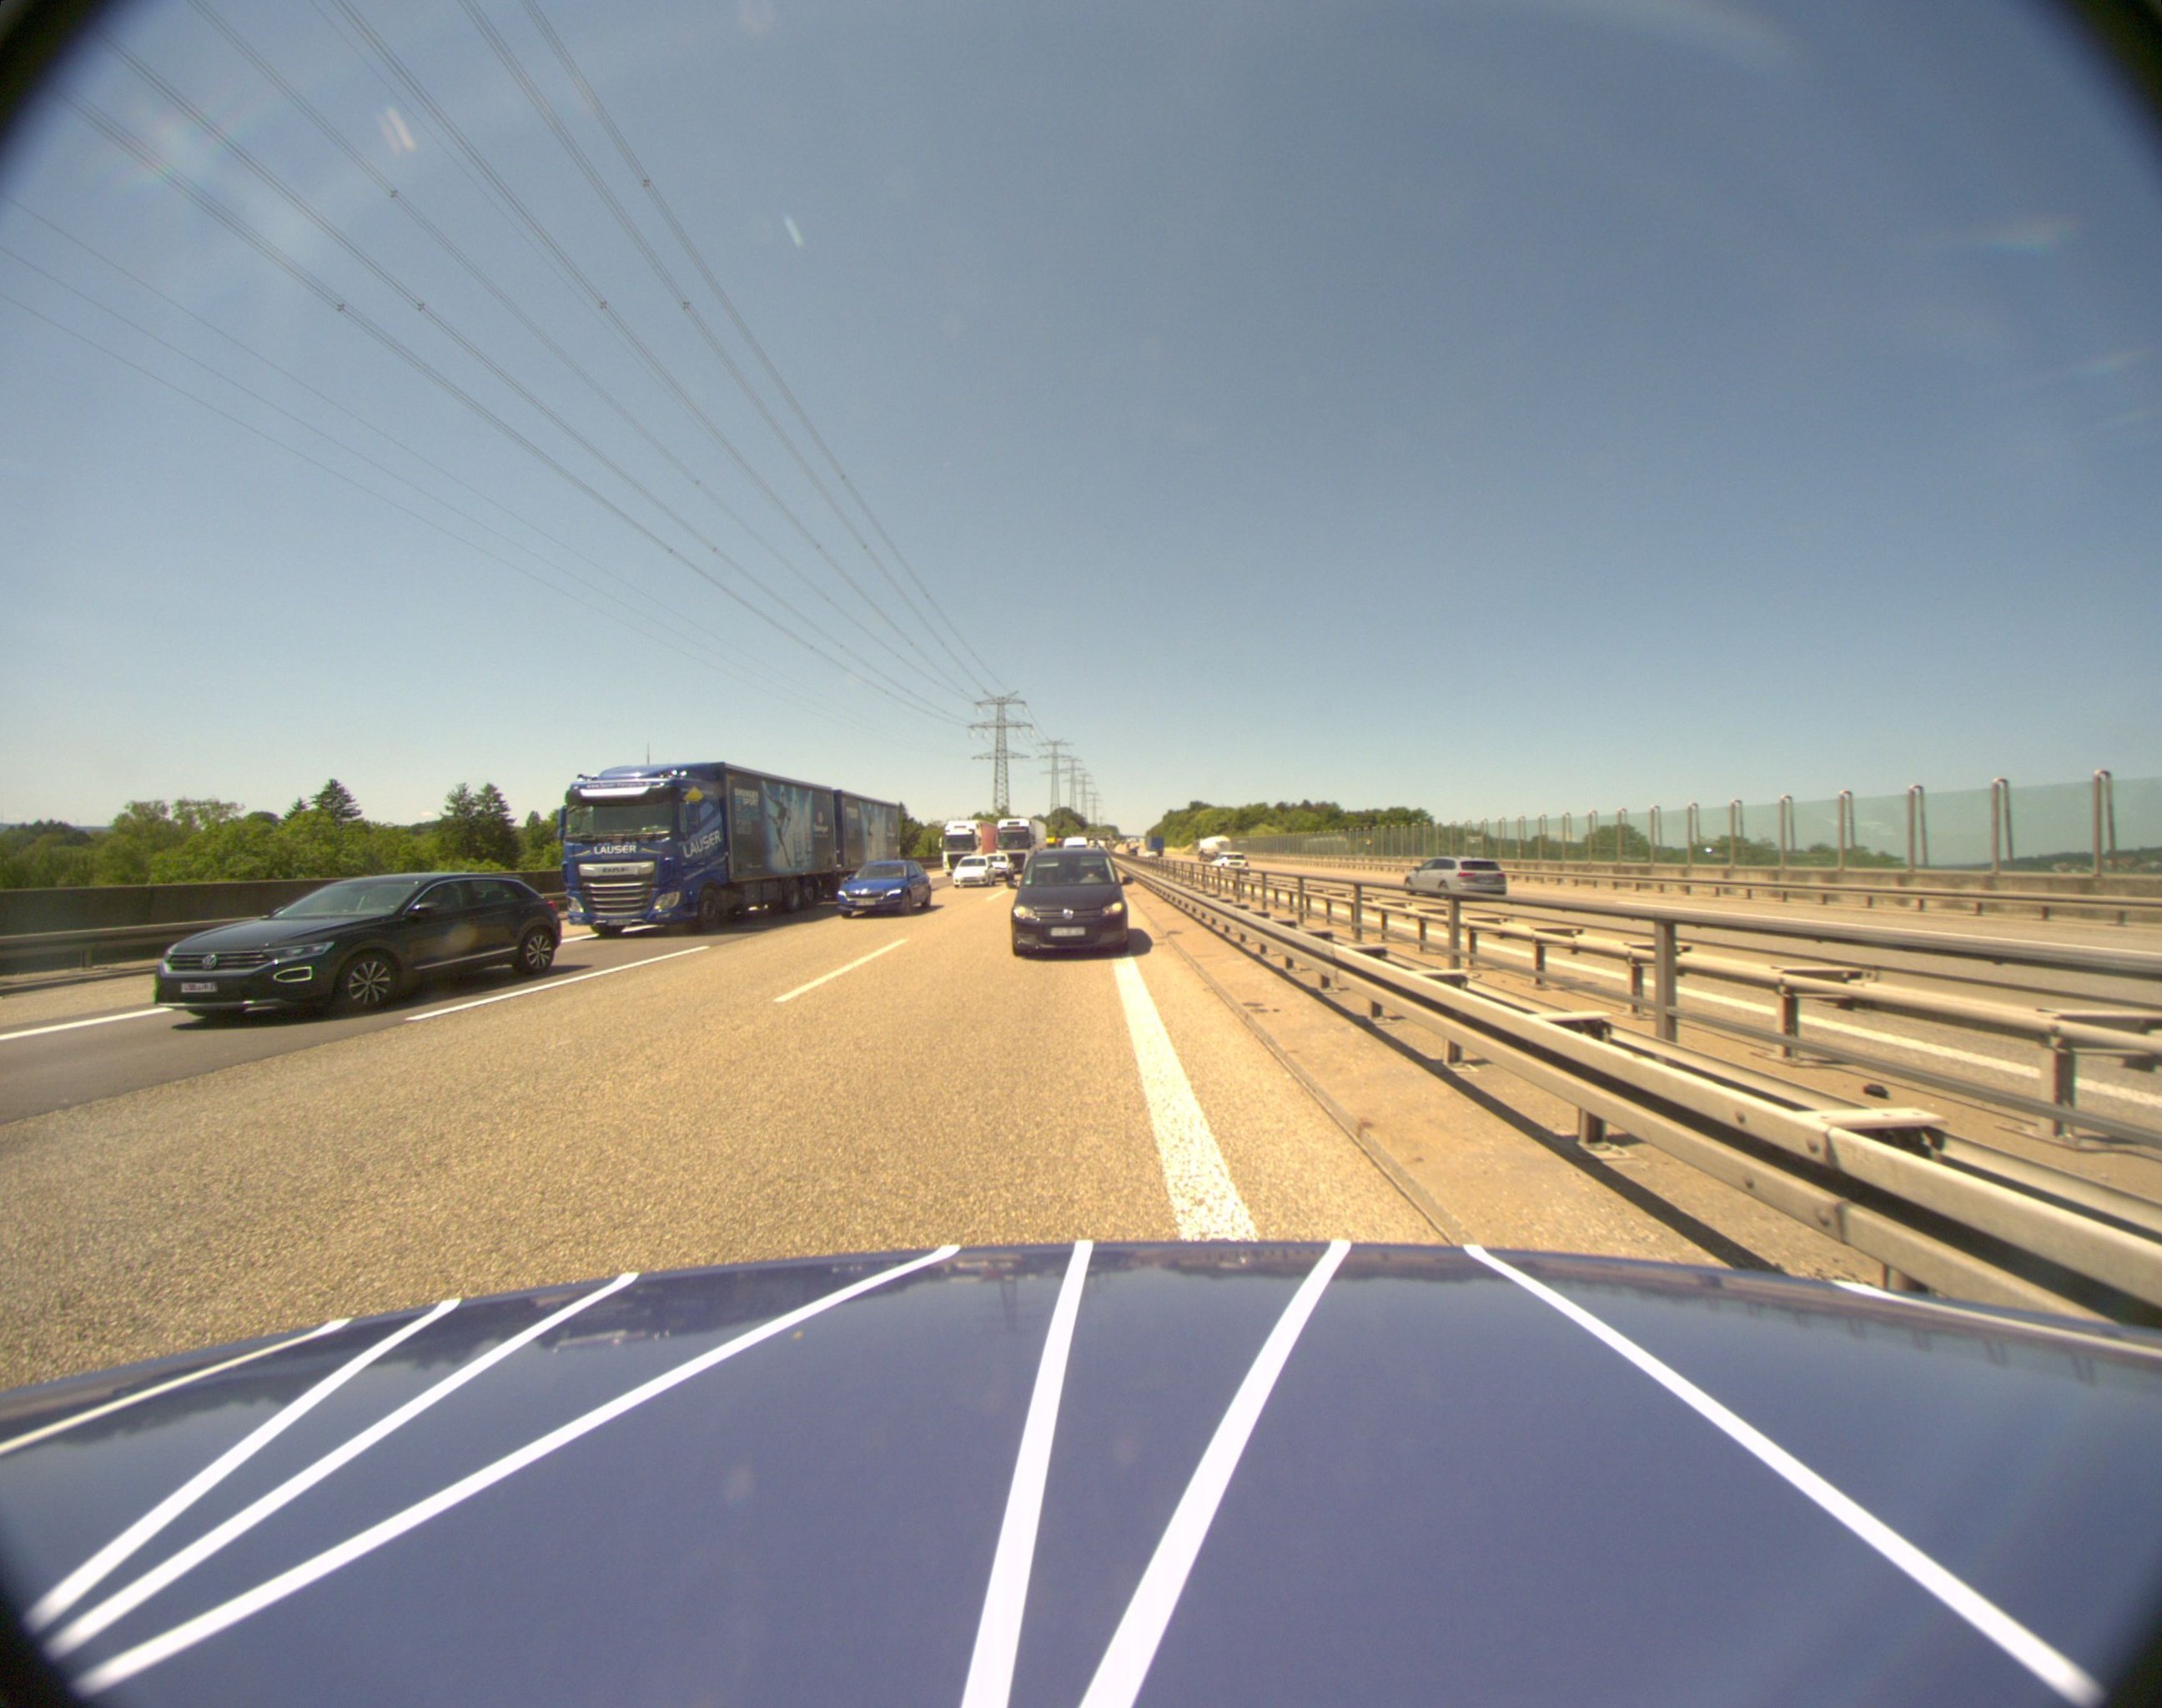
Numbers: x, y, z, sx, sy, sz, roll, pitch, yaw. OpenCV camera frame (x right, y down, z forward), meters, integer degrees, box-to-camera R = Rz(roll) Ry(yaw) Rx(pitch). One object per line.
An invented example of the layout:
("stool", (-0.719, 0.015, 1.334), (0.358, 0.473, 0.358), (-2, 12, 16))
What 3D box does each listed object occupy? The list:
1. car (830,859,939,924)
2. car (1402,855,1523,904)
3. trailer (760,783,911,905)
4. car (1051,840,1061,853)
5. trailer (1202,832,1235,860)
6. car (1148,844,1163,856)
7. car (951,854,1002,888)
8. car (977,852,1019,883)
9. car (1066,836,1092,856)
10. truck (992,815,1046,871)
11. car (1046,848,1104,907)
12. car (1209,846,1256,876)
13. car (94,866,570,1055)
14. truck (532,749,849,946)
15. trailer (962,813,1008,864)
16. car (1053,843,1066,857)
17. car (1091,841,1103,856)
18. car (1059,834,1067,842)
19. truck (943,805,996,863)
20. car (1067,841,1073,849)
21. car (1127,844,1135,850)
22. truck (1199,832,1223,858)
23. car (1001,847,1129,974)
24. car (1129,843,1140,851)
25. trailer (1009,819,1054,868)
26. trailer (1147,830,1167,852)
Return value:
("car", (-5.348, 0.946, 21.280), (1.712, 1.443, 4.563), (-2, 1, 1))
("car", (12.745, 0.783, 25.745), (1.876, 1.434, 4.384), (1, 1, 0))
("trailer", (-9.366, -0.423, 30.311), (2.835, 4.066, 8.636), (-2, 1, 1))
("car", (-5.237, -1.628, 158.973), (1.704, 2.525, 3.999), (1, 1, 1))
("trailer", (18.142, -1.151, 100.716), (2.505, 3.520, 10.901), (0, 1, 1))
("car", (11.036, -0.605, 113.107), (1.811, 1.630, 3.999), (1, 1, -1))
("car", (-4.985, 0.780, 36.794), (1.712, 1.443, 4.144), (-2, 1, 1))
("car", (-4.527, 0.686, 42.164), (1.712, 1.501, 4.144), (-2, 1, 1))
("car", (-0.116, -0.681, 61.272), (1.924, 1.501, 3.996), (-2, 1, 1))
("truck", (-4.484, -0.853, 56.822), (2.849, 3.804, 8.264), (-2, 1, 2))
("car", (-0.155, 0.704, 25.215), (1.712, 1.669, 3.931), (-2, 1, 1))
("car", (8.463, 0.350, 42.715), (1.876, 1.521, 3.608), (4, 1, 0))
("car", (-8.719, 1.078, 9.496), (1.712, 1.645, 4.117), (-2, 1, 1))
("truck", (-9.588, -0.222, 20.764), (2.859, 3.927, 10.393), (-2, 1, 1))
("trailer", (-8.319, -1.343, 66.886), (2.608, 4.094, 9.083), (-2, 1, 0))
("car", (-3.183, -0.632, 114.125), (1.704, 2.116, 3.999), (1, 1, 1))
("car", (2.504, -0.862, 117.772), (1.704, 2.116, 3.999), (-2, 1, 1))
("car", (-4.486, -3.939, 187.239), (1.704, 2.116, 3.999), (1, 1, 1))
("truck", (-8.378, -1.506, 58.229), (2.608, 3.965, 8.263), (-2, 1, 0))
("car", (-3.161, -2.678, 222.165), (1.704, 2.116, 3.999), (1, 1, 1))
("car", (13.327, -1.788, 203.444), (1.886, 1.543, 4.188), (-2, 1, -1))
("truck", (18.200, -1.288, 106.423), (2.527, 3.515, 5.329), (0, 1, 1))
("car", (-0.200, 0.772, 12.545), (1.712, 1.669, 3.931), (-2, 1, 1))
("car", (11.258, -1.543, 160.989), (1.886, 1.543, 4.188), (-2, 1, -1))
("trailer", (-4.138, -0.925, 65.565), (2.822, 3.830, 9.084), (-2, 1, 2))
("trailer", (15.077, -2.636, 151.221), (2.711, 4.142, 12.047), (0, 1, 0))
